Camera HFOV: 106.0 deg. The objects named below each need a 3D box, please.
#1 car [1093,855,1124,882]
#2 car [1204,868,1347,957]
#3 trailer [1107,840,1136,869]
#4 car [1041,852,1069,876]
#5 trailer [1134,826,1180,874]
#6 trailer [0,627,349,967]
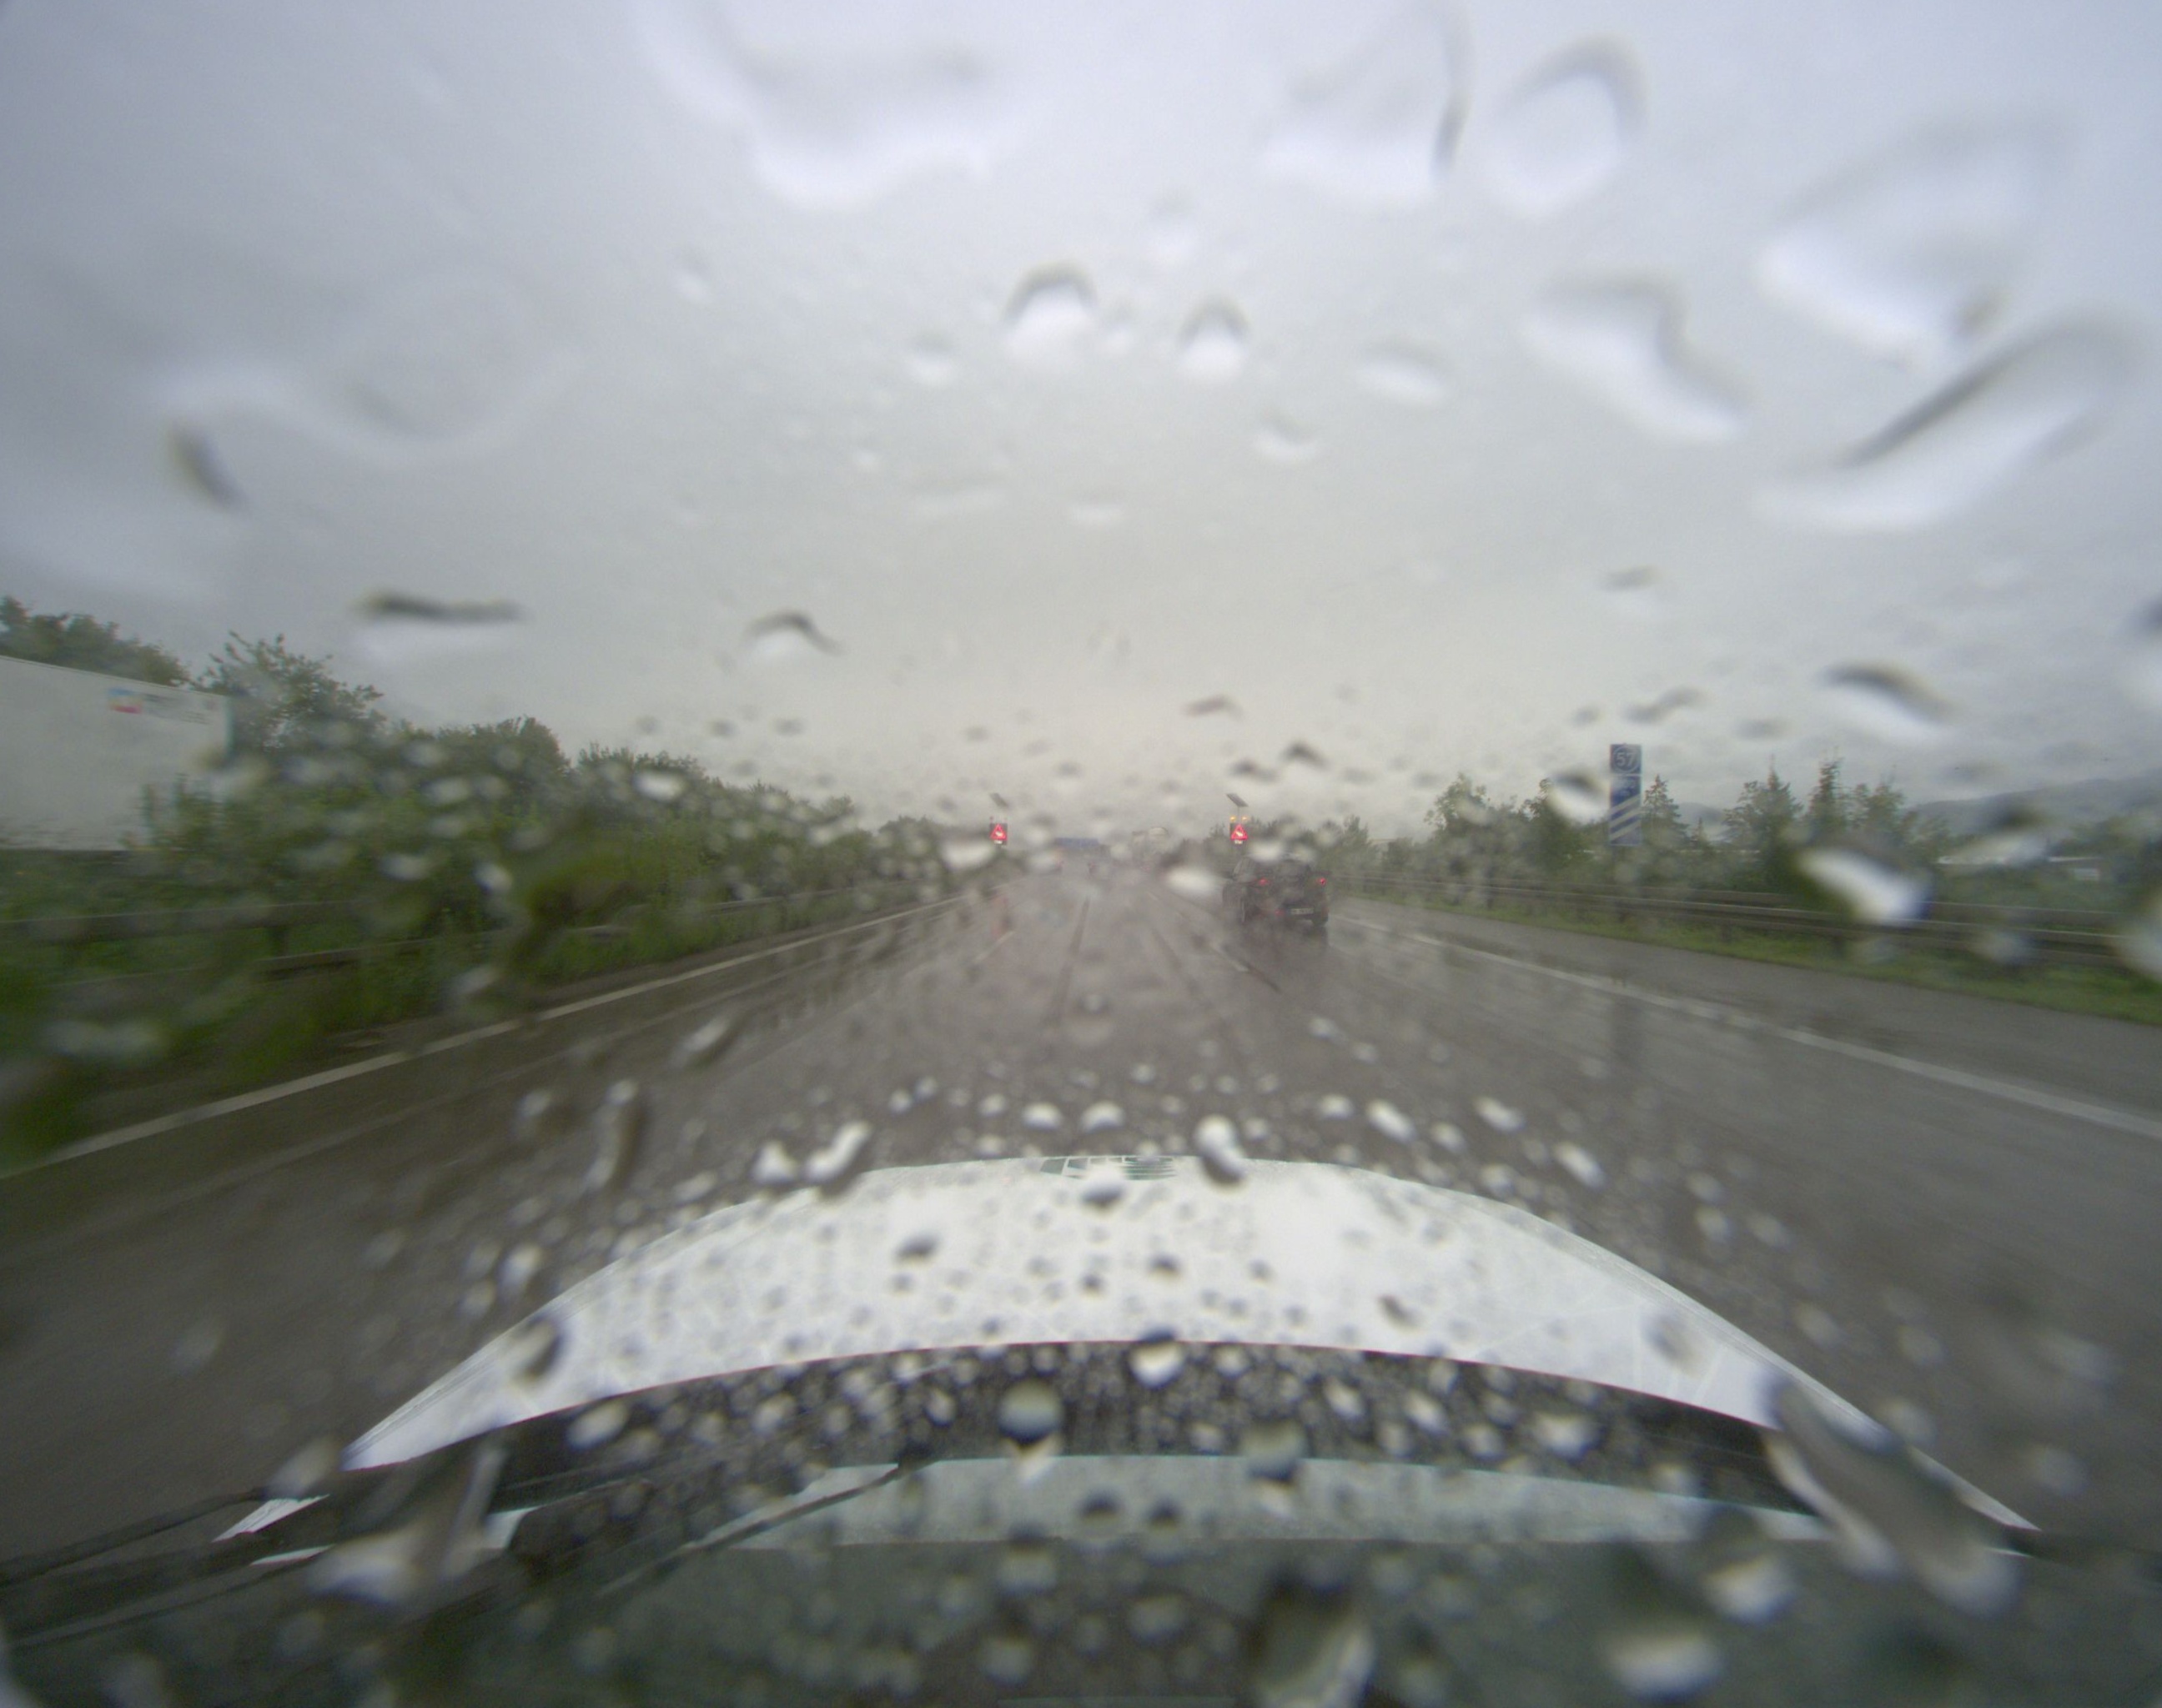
[{"bbox_3d":[1.873,0.935,55.475,1.971,1.756,4.483,-1,0,2],"label":"car"},{"bbox_3d":[4.413,1.263,19.561,2.447,1.746,5.725,0,0,4],"label":"car"},{"bbox_3d":[5.504,0.048,111.022,2.998,3.848,8.612,0,0,-4],"label":"trailer"},{"bbox_3d":[-1.949,0.718,62.250,1.919,1.741,4.404,-1,0,0],"label":"car"},{"bbox_3d":[6.176,-0.309,67.941,3.176,3.670,11.673,-1,0,2],"label":"trailer"},{"bbox_3d":[-16.928,-0.787,8.931,3.855,4.695,15.031,0,0,2],"label":"trailer"}]
